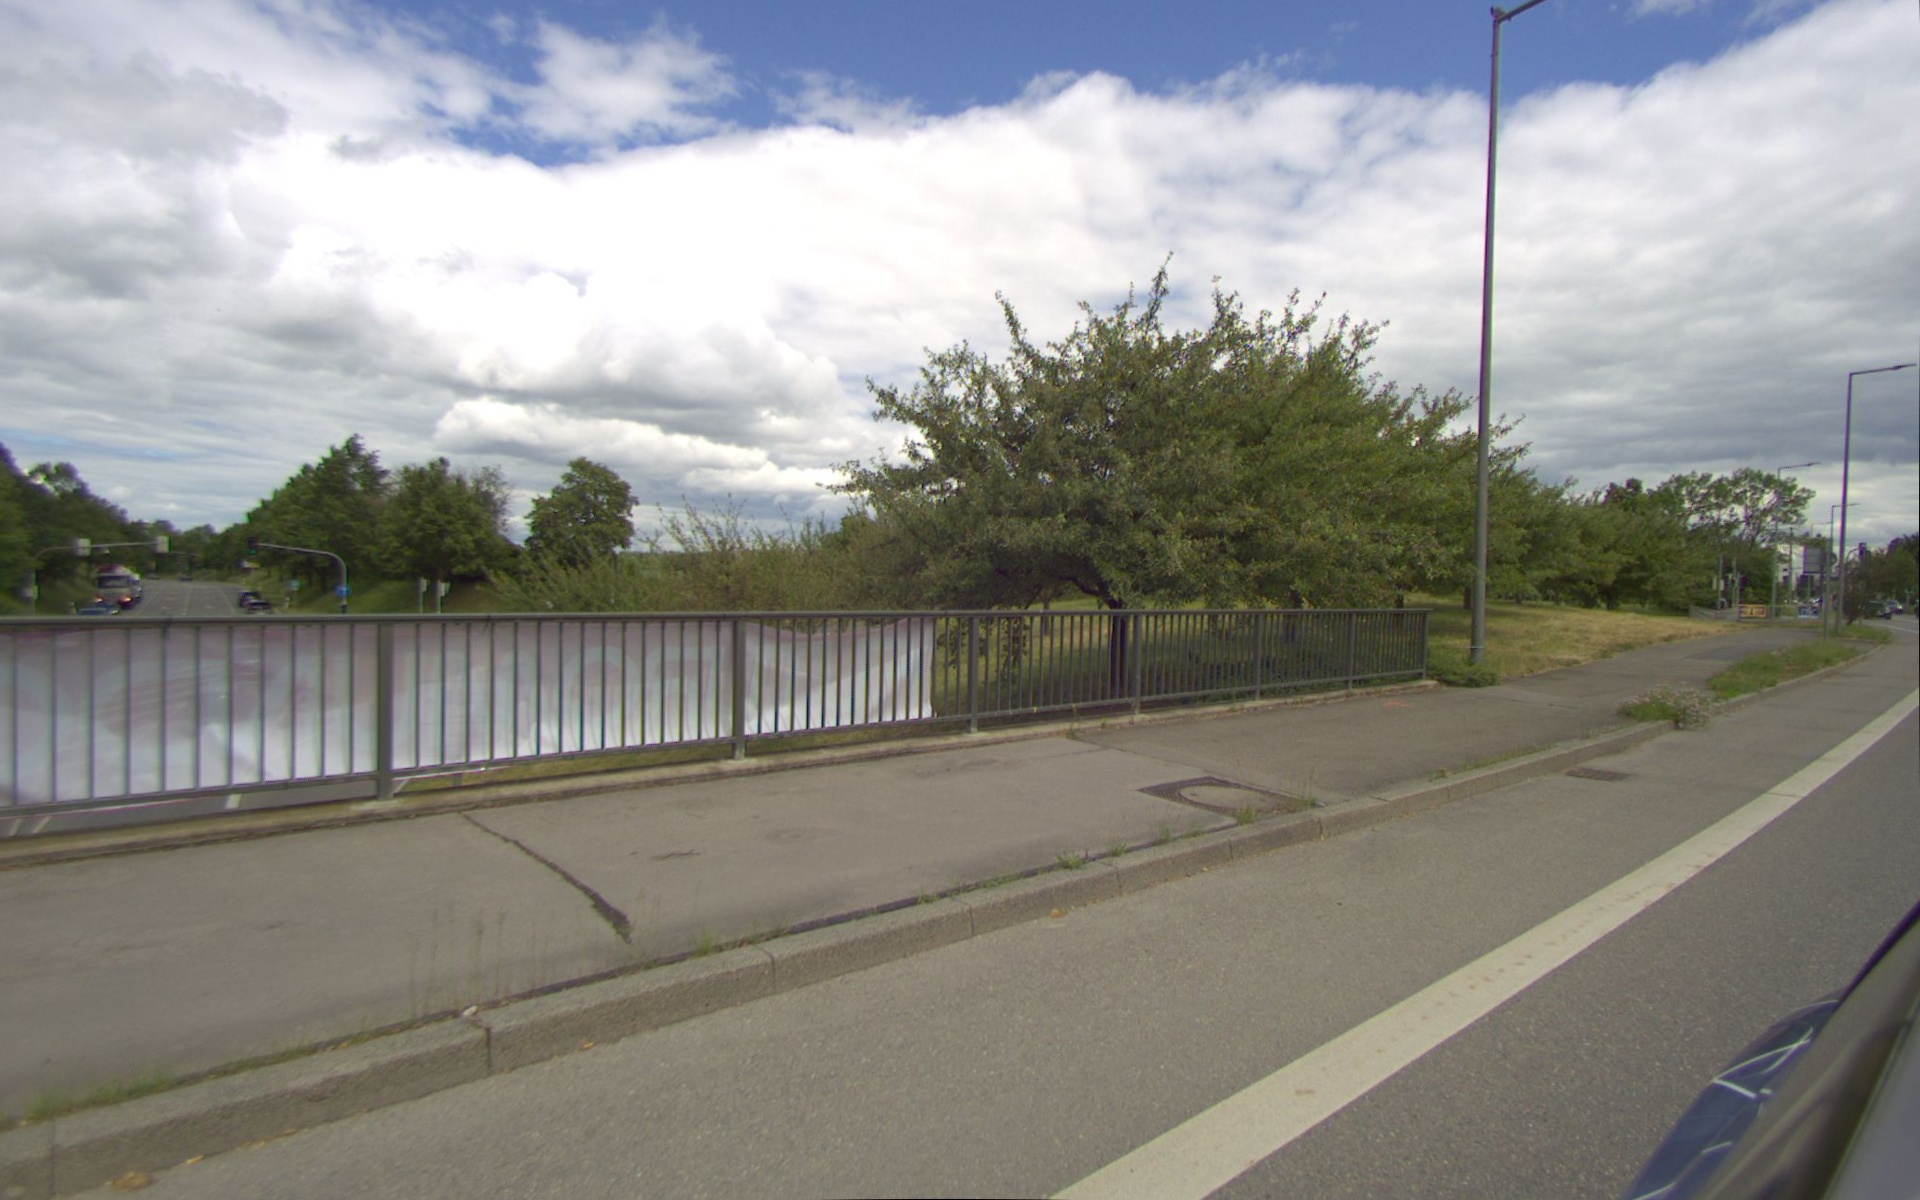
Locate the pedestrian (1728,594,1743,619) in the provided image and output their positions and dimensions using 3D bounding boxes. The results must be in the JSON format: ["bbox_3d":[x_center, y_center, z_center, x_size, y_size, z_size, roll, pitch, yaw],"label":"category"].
[{"bbox_3d":[58.266,0.478,76.069,0.793,1.907,0.758,0,0,28],"label":"pedestrian"}]

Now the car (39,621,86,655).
[{"bbox_3d":[-50.008,2.091,56.438,1.651,1.559,3.855,2,2,-38],"label":"car"}]

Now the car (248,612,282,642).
[{"bbox_3d":[-43.809,1.656,63.792,1.650,1.559,3.857,2,2,-36],"label":"car"}]

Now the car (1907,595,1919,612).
[{"bbox_3d":[100.139,0.324,105.518,1.866,1.716,4.306,0,0,41],"label":"car"}]

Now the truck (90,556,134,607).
[{"bbox_3d":[-77.298,-1.744,92.333,2.665,4.078,8.766,2,2,-38],"label":"truck"}]

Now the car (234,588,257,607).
[{"bbox_3d":[-67.731,-0.220,95.934,1.650,1.559,3.857,2,2,-36],"label":"car"}]

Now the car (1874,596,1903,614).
[{"bbox_3d":[78.283,0.385,85.355,1.729,1.459,4.303,0,0,41],"label":"car"}]

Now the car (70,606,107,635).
[{"bbox_3d":[-57.900,1.340,67.285,1.651,1.559,4.071,2,2,-38],"label":"car"}]

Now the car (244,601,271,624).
[{"bbox_3d":[-55.355,0.968,79.757,1.650,1.559,3.857,2,2,-36],"label":"car"}]
